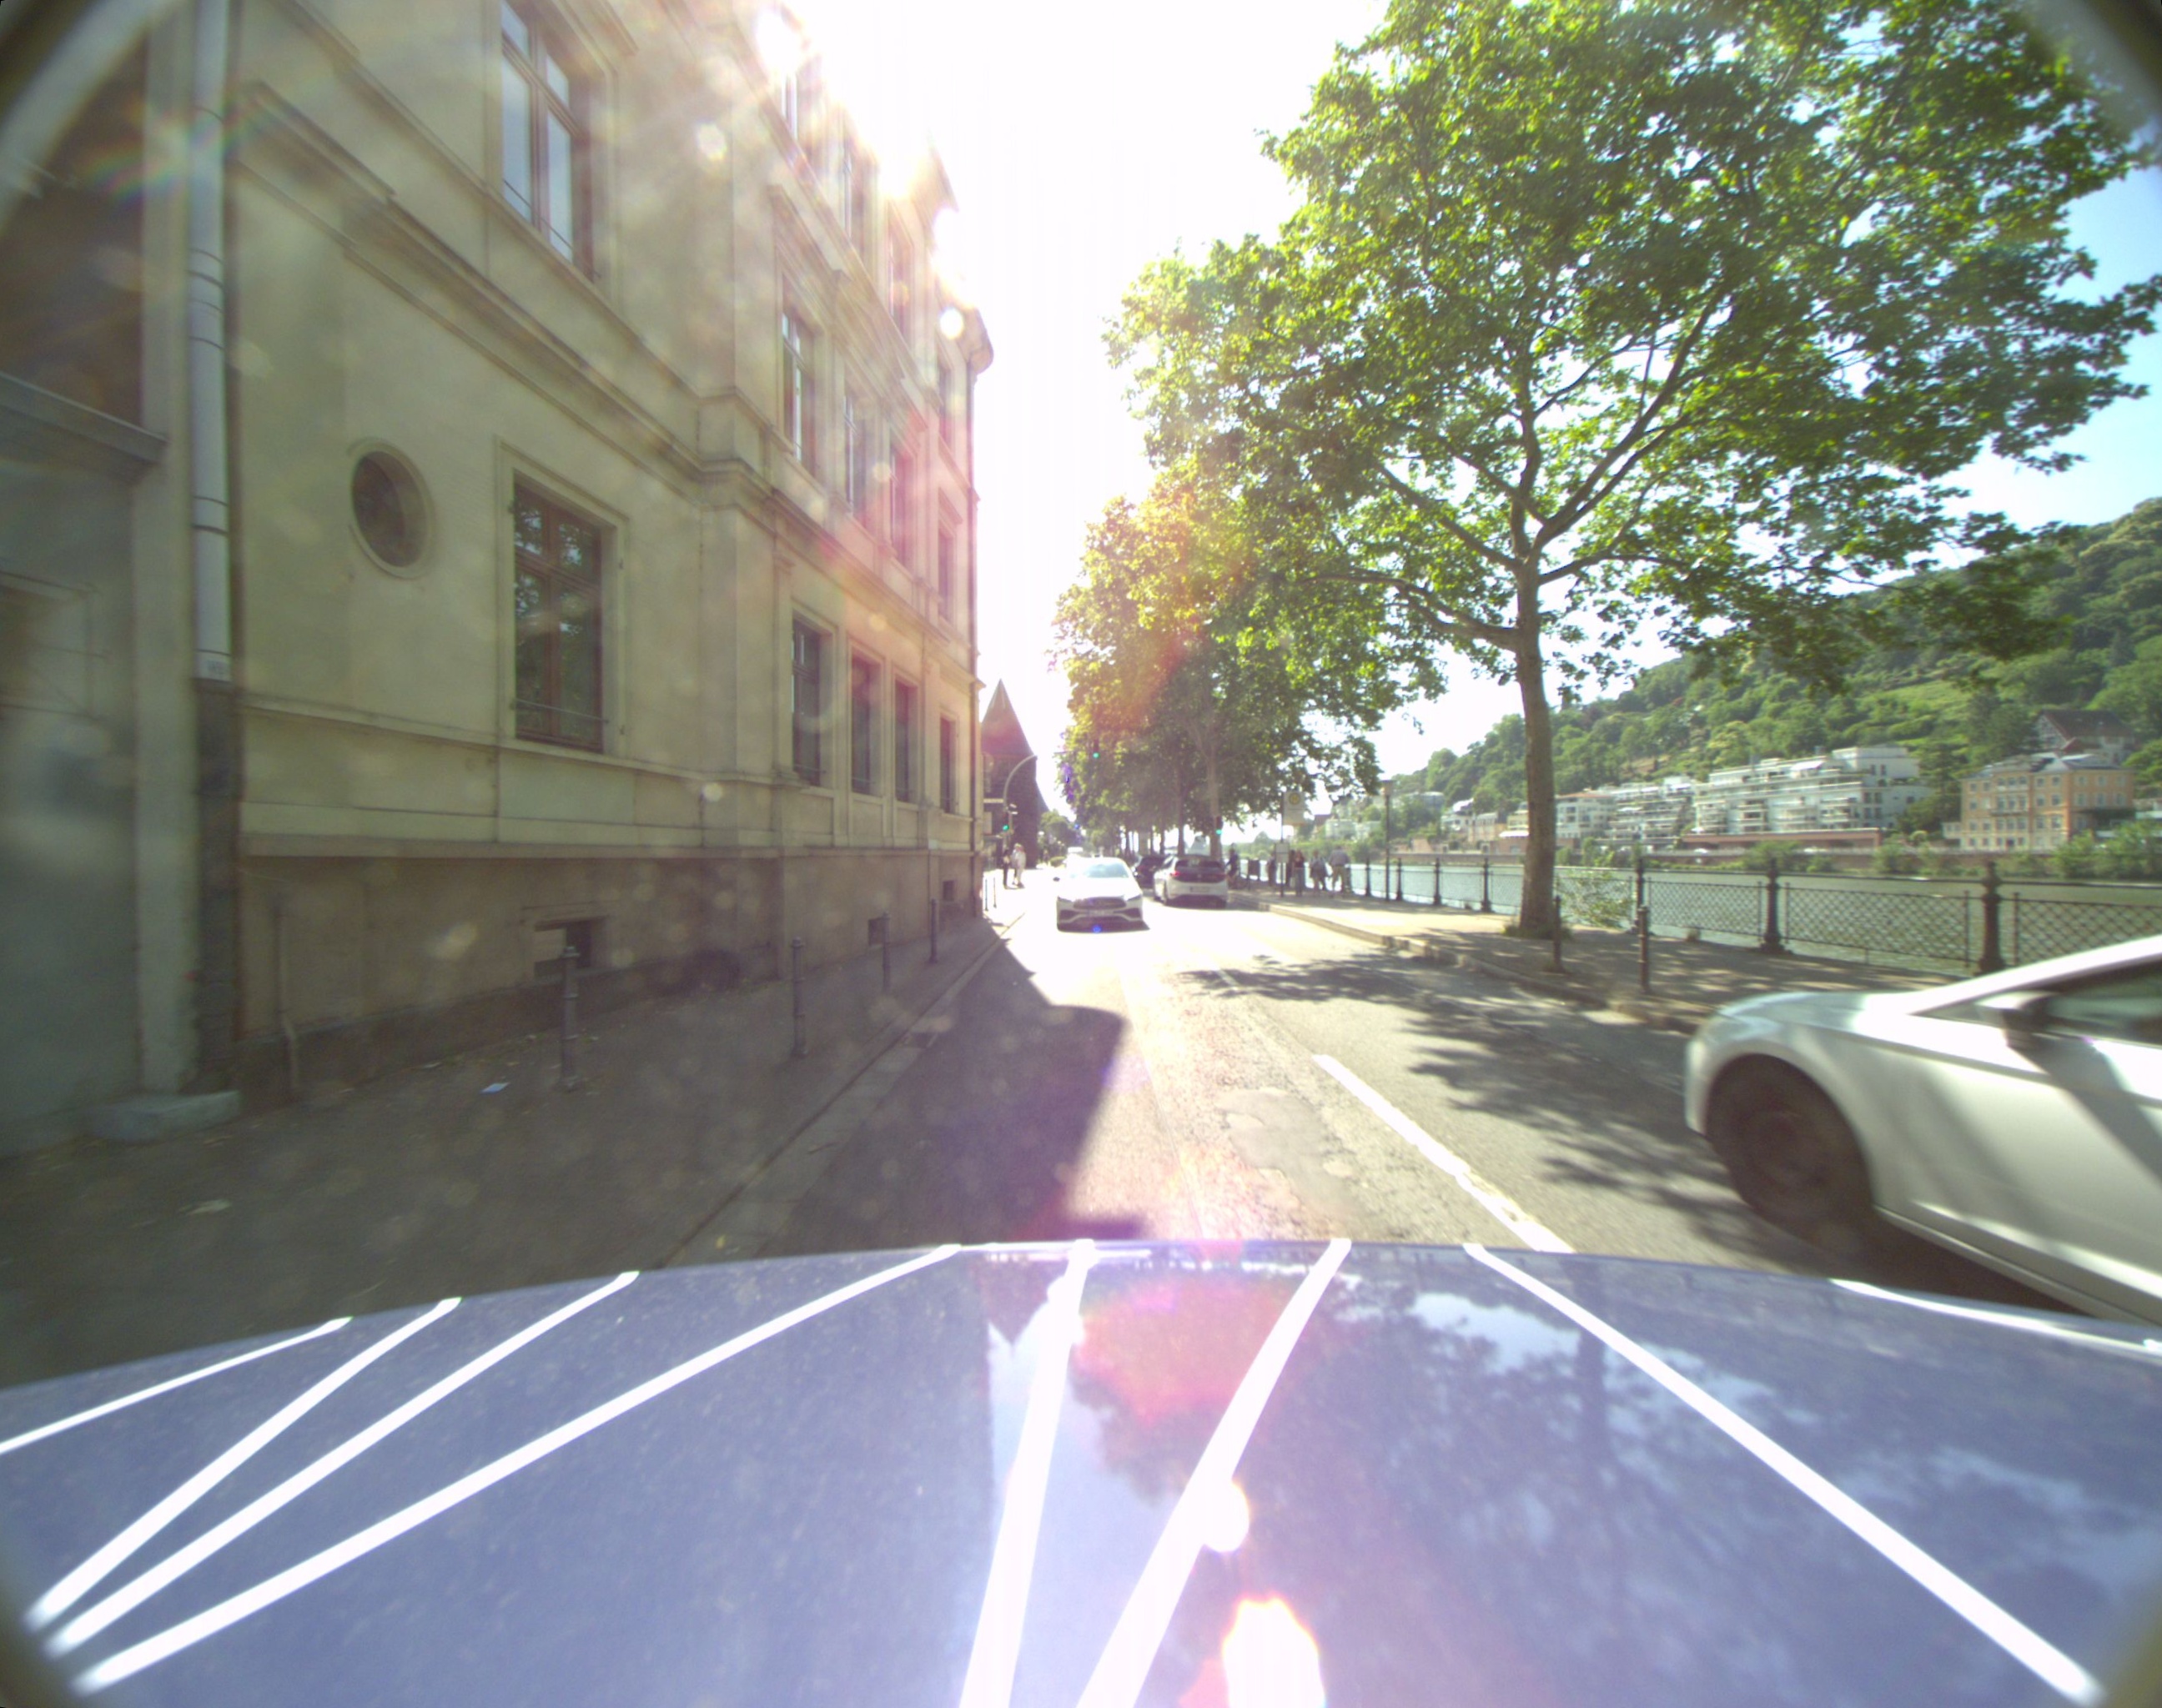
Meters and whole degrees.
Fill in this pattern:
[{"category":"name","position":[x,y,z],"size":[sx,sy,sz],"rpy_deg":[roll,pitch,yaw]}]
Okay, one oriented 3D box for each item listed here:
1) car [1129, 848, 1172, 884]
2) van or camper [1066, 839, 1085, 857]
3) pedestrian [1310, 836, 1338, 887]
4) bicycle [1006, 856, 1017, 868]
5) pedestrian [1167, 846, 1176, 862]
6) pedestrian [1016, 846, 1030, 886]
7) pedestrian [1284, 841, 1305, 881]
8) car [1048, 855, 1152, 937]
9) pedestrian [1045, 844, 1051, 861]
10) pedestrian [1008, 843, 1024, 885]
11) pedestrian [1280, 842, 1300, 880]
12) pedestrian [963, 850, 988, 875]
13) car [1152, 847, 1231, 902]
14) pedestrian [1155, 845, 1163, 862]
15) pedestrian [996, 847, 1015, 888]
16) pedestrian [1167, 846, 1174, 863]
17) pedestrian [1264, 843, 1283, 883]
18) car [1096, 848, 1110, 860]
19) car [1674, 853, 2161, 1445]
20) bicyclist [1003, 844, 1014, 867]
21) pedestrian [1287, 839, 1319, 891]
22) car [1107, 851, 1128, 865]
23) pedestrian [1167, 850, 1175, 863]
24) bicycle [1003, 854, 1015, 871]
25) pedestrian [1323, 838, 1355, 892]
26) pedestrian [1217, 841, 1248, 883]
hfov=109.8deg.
[{"category":"car","position":[3.224,0.518,35.885],"size":[1.705,1.509,4.404],"rpy_deg":[1,1,1]},{"category":"van or camper","position":[-0.696,-0.842,100.079],"size":[2.437,2.271,6.202],"rpy_deg":[-1,1,-1]},{"category":"pedestrian","position":[8.247,0.259,25.799],"size":[0.654,1.704,0.793],"rpy_deg":[0,1,-1]},{"category":"bicycle","position":[-6.508,0.743,70.908],"size":[0.845,1.146,1.844],"rpy_deg":[-1,1,-1]},{"category":"pedestrian","position":[9.156,0.002,76.908],"size":[0.793,1.674,0.709],"rpy_deg":[-1,1,-1]},{"category":"pedestrian","position":[-2.527,0.492,32.903],"size":[0.528,1.702,0.665],"rpy_deg":[-1,1,-1]},{"category":"pedestrian","position":[9.081,0.295,32.317],"size":[0.620,1.690,0.695],"rpy_deg":[-2,1,-1]},{"category":"car","position":[0.362,0.780,16.418],"size":[1.875,1.416,4.744],"rpy_deg":[-2,1,0]},{"category":"pedestrian","position":[-3.583,-0.214,83.259],"size":[0.556,1.844,1.023],"rpy_deg":[-1,1,0]},{"category":"pedestrian","position":[-2.870,0.428,33.428],"size":[0.618,1.841,0.730],"rpy_deg":[-1,1,0]},{"category":"pedestrian","position":[9.213,0.295,33.498],"size":[0.551,1.599,0.910],"rpy_deg":[-3,1,-1]},{"category":"pedestrian","position":[-5.591,0.427,40.414],"size":[1.251,1.300,0.693],"rpy_deg":[-1,1,-2]},{"category":"car","position":[3.279,0.548,23.293],"size":[1.740,1.509,4.403],"rpy_deg":[0,1,0]},{"category":"pedestrian","position":[7.990,-0.103,77.894],"size":[0.760,1.720,0.729],"rpy_deg":[-1,1,-1]},{"category":"pedestrian","position":[-3.149,0.557,31.751],"size":[0.717,1.666,0.682],"rpy_deg":[-1,1,-1]},{"category":"pedestrian","position":[8.985,0.039,76.610],"size":[0.633,1.618,0.552],"rpy_deg":[-1,1,-1]},{"category":"pedestrian","position":[7.958,0.355,31.394],"size":[0.495,1.608,0.991],"rpy_deg":[-1,1,-1]},{"category":"car","position":[2.857,-0.053,98.952],"size":[1.705,1.509,4.404],"rpy_deg":[-1,1,1]},{"category":"car","position":[3.534,0.727,1.365],"size":[1.705,1.436,4.091],"rpy_deg":[-2,-1,0]},{"category":"bicyclist","position":[-5.094,0.084,53.506],"size":[0.711,1.619,0.886],"rpy_deg":[-1,1,-7]},{"category":"pedestrian","position":[7.477,0.362,25.640],"size":[0.837,1.704,0.782],"rpy_deg":[-1,1,-1]},{"category":"car","position":[3.668,0.392,77.029],"size":[1.845,1.262,4.261],"rpy_deg":[2,1,-1]},{"category":"pedestrian","position":[9.092,0.287,76.708],"size":[0.633,1.312,0.552],"rpy_deg":[1,1,-1]},{"category":"bicycle","position":[-5.100,0.574,53.662],"size":[0.691,1.123,2.007],"rpy_deg":[-1,1,-8]},{"category":"pedestrian","position":[8.482,0.349,25.004],"size":[0.713,1.754,0.972],"rpy_deg":[-1,1,-1]},{"category":"pedestrian","position":[6.503,0.320,32.600],"size":[1.022,1.763,0.770],"rpy_deg":[0,2,40]}]
